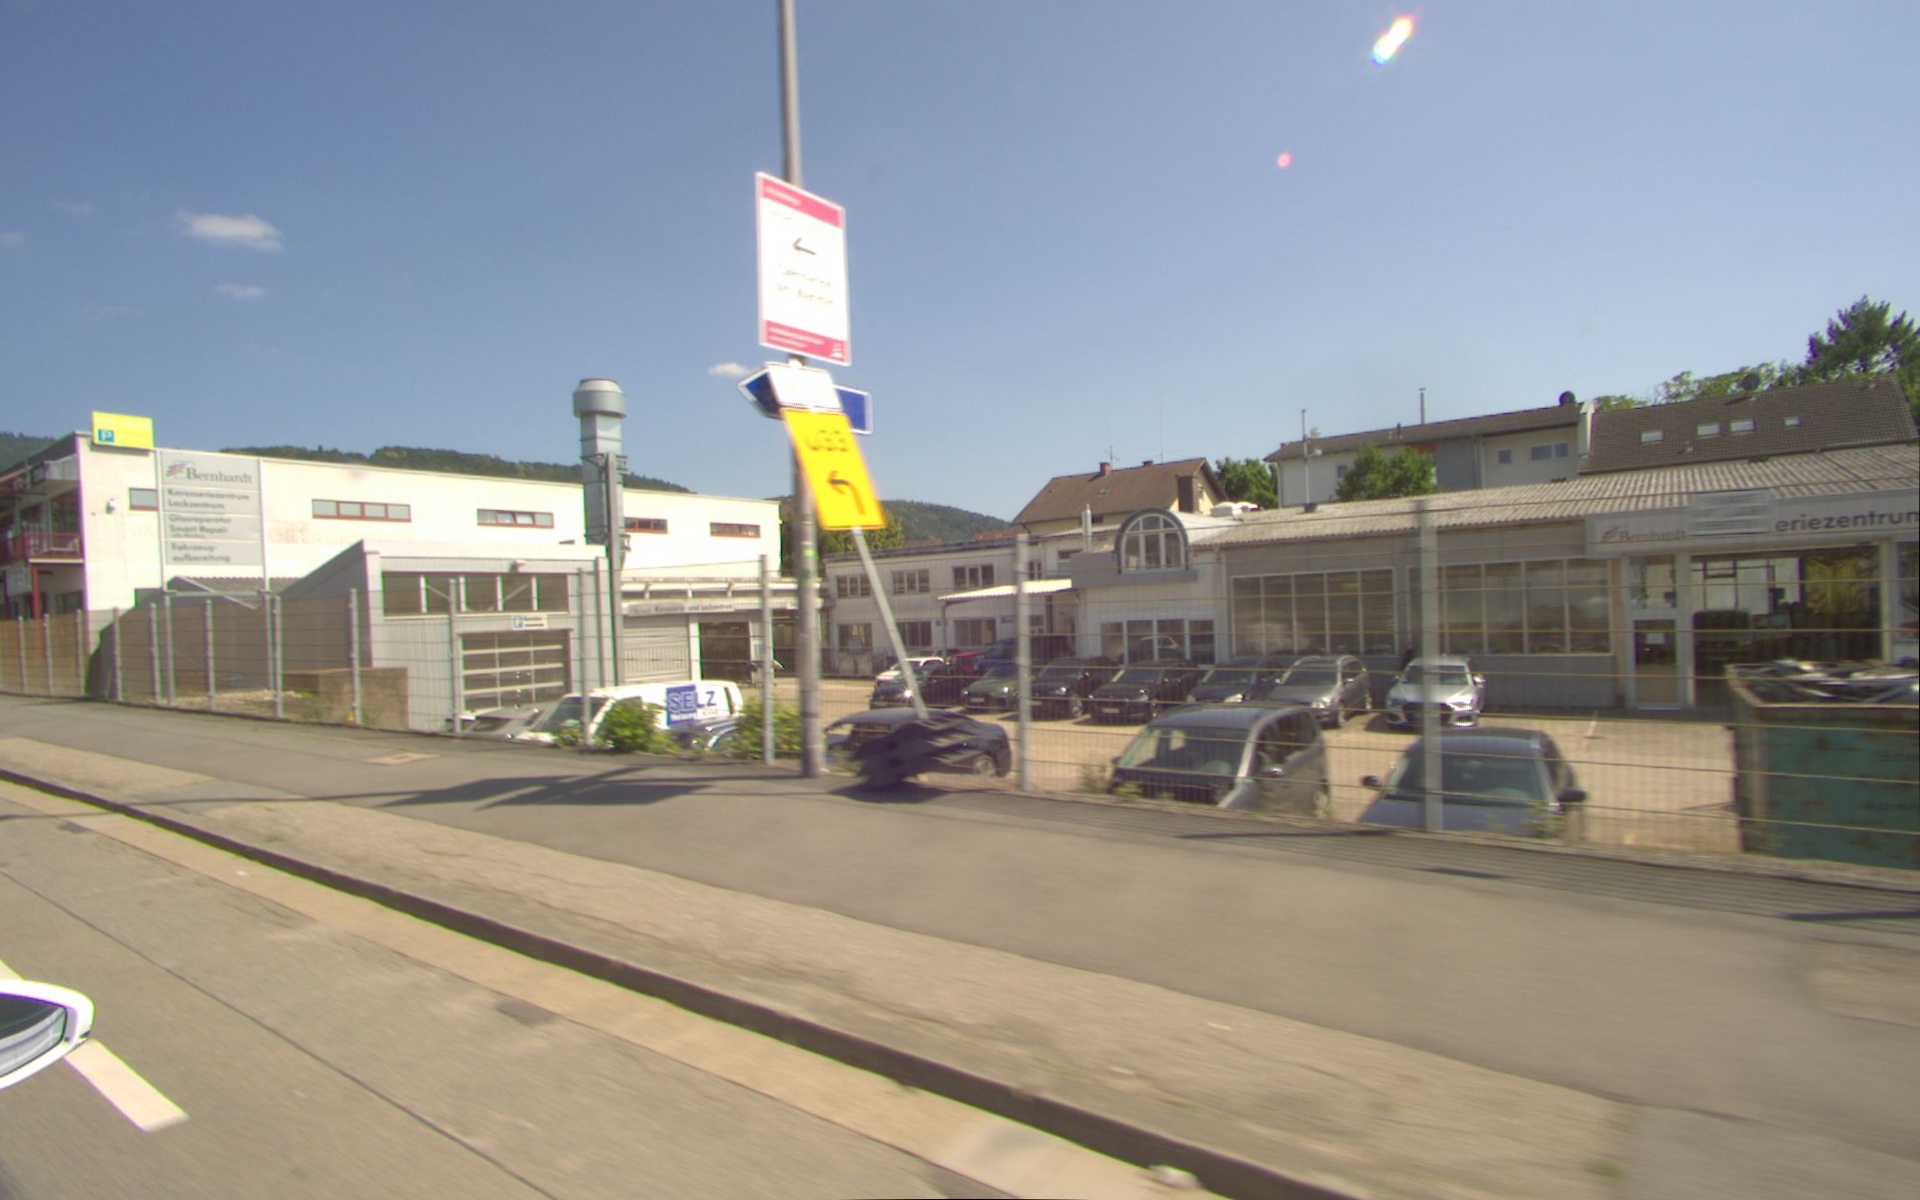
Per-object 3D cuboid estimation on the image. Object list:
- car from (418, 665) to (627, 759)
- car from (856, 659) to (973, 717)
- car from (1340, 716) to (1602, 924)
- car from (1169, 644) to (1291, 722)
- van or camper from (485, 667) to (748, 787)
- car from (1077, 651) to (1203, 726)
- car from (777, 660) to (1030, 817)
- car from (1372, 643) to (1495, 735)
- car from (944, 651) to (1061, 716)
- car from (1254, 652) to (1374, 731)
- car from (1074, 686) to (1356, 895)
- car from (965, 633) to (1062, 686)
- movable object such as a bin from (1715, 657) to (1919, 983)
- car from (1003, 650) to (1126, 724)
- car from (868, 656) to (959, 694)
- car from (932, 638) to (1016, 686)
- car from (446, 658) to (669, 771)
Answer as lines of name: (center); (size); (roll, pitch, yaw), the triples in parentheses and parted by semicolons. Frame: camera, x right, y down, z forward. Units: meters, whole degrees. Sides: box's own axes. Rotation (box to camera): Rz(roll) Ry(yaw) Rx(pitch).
car: (-9.996, 2.476, 23.057); (1.980, 1.853, 3.964); (-2, -3, 45)
car: (-1.430, 2.856, 32.990); (1.821, 1.535, 3.976); (-3, -1, 33)
car: (5.288, 1.994, 10.132); (1.971, 1.319, 3.981); (-1, -3, 32)
car: (7.318, 2.176, 26.877); (1.973, 1.683, 3.976); (-3, -1, 33)
van or camper: (-6.153, 2.192, 18.438); (1.992, 1.672, 4.304); (-1, -1, 32)
car: (5.070, 2.402, 27.826); (1.973, 1.683, 3.976); (-3, -1, 33)
car: (-0.755, 2.014, 15.838); (1.973, 2.039, 3.977); (-1, -2, 35)
car: (11.003, 1.982, 23.122); (1.973, 1.683, 3.976); (-3, -1, 33)
car: (1.419, 2.603, 32.174); (1.838, 1.684, 3.972); (-1, 1, 36)
car: (8.810, 2.200, 24.725); (1.822, 1.535, 3.976); (-3, -1, 33)
car: (3.159, 2.018, 11.822); (1.973, 1.672, 3.976); (-1, -1, 35)
car: (2.080, 2.215, 38.110); (1.890, 1.880, 3.977); (-2, -2, 34)
movable object such as a bin: (7.688, 1.529, 8.447); (1.974, 2.039, 5.101); (-1, -3, 36)
car: (3.133, 2.480, 29.434); (1.972, 1.684, 3.975); (-1, 1, 33)
car: (-1.860, 3.070, 41.033); (1.846, 1.422, 3.816); (-3, -4, 33)
car: (0.675, 2.768, 45.163); (1.973, 2.038, 3.979); (-3, -4, 33)
car: (-8.291, 2.272, 20.927); (1.827, 2.039, 3.977); (-1, -2, 35)
